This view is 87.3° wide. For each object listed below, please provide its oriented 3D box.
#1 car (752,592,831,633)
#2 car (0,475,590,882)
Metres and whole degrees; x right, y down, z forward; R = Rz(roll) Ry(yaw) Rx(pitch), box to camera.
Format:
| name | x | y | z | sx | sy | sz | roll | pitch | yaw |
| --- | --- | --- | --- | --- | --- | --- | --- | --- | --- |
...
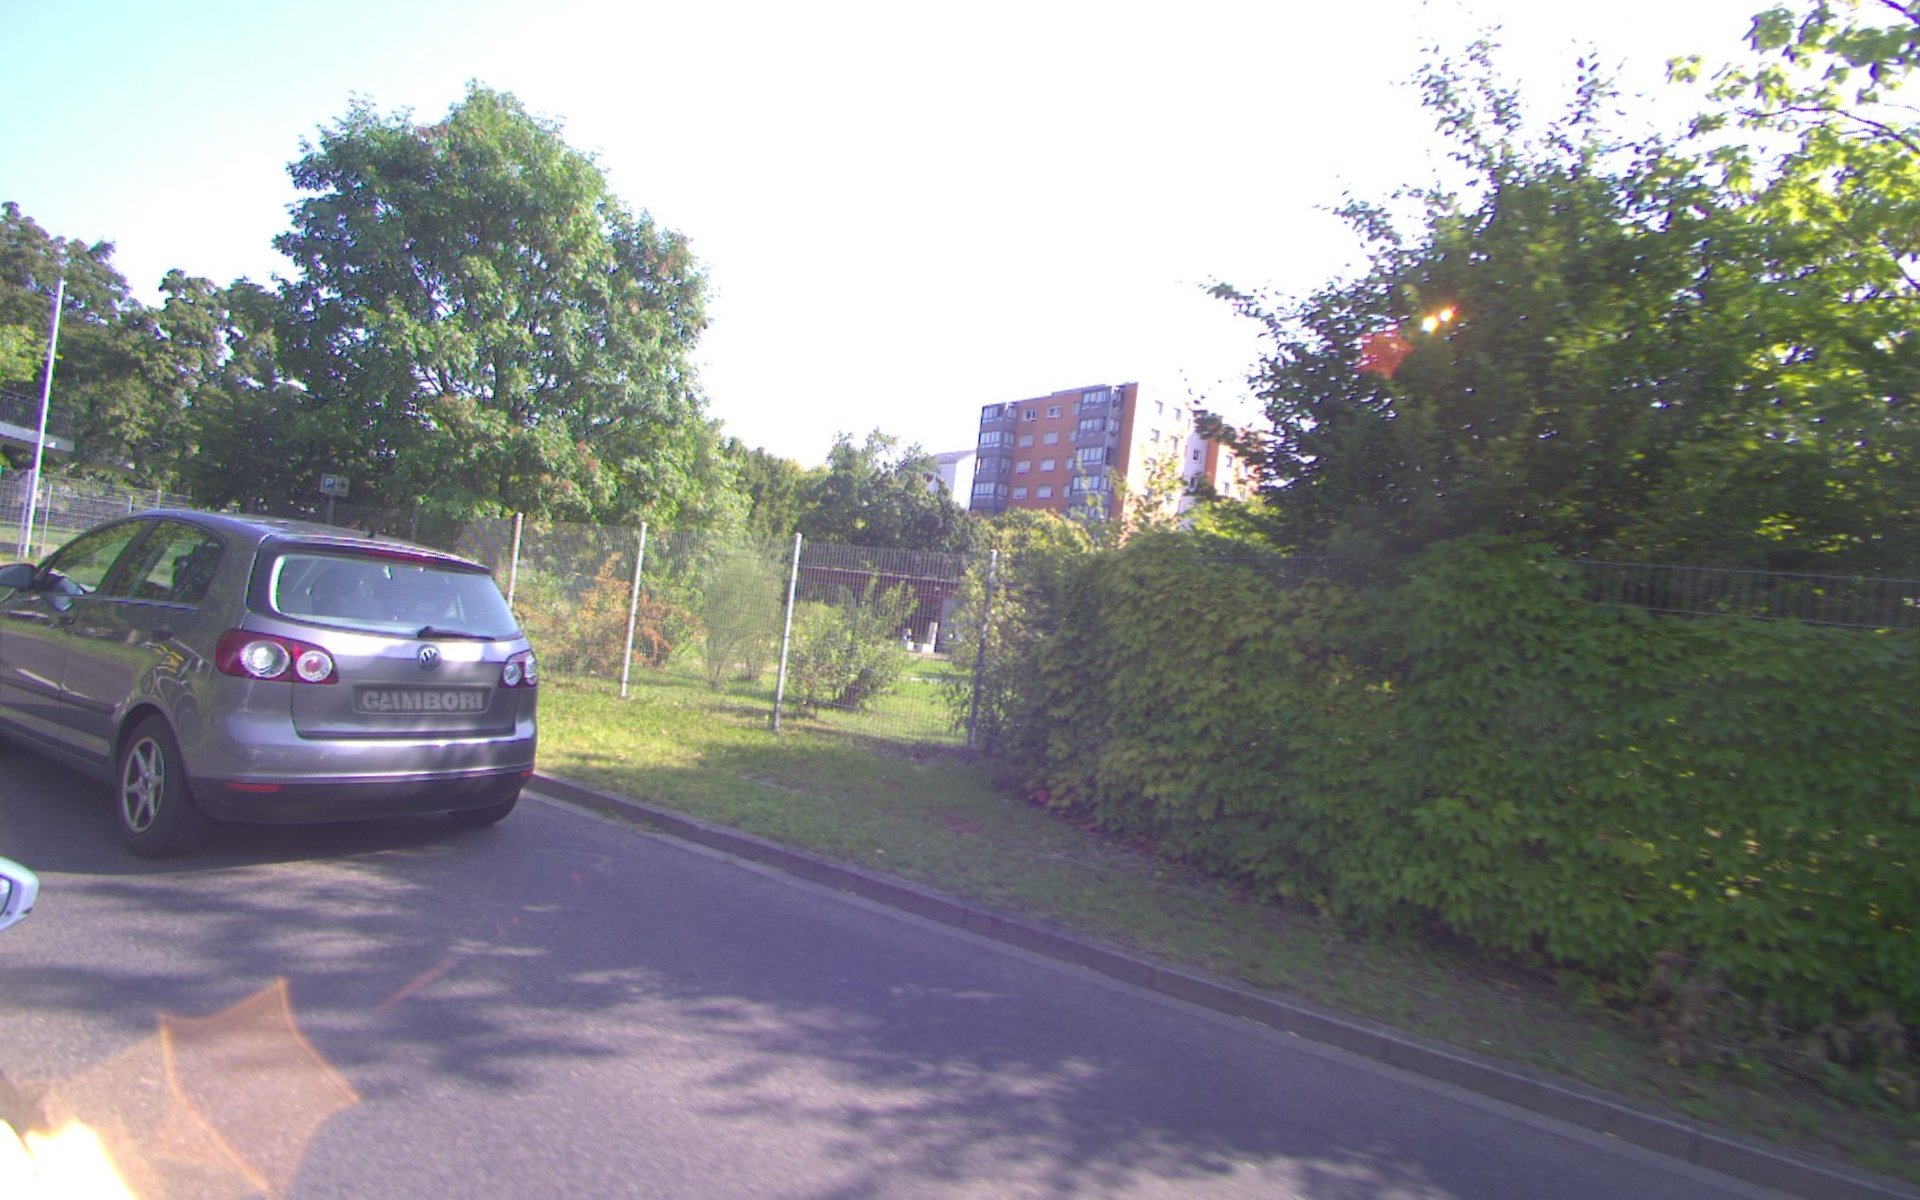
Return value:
| name | x | y | z | sx | sy | sz | roll | pitch | yaw |
| --- | --- | --- | --- | --- | --- | --- | --- | --- | --- |
| car | -9.306 | 0.674 | 55.469 | 3.933 | 1.737 | 1.743 | 6 | -1 | 31 |
| car | -4.155 | 0.260 | 5.750 | 3.833 | 1.574 | 1.649 | 6 | -2 | 31 |
